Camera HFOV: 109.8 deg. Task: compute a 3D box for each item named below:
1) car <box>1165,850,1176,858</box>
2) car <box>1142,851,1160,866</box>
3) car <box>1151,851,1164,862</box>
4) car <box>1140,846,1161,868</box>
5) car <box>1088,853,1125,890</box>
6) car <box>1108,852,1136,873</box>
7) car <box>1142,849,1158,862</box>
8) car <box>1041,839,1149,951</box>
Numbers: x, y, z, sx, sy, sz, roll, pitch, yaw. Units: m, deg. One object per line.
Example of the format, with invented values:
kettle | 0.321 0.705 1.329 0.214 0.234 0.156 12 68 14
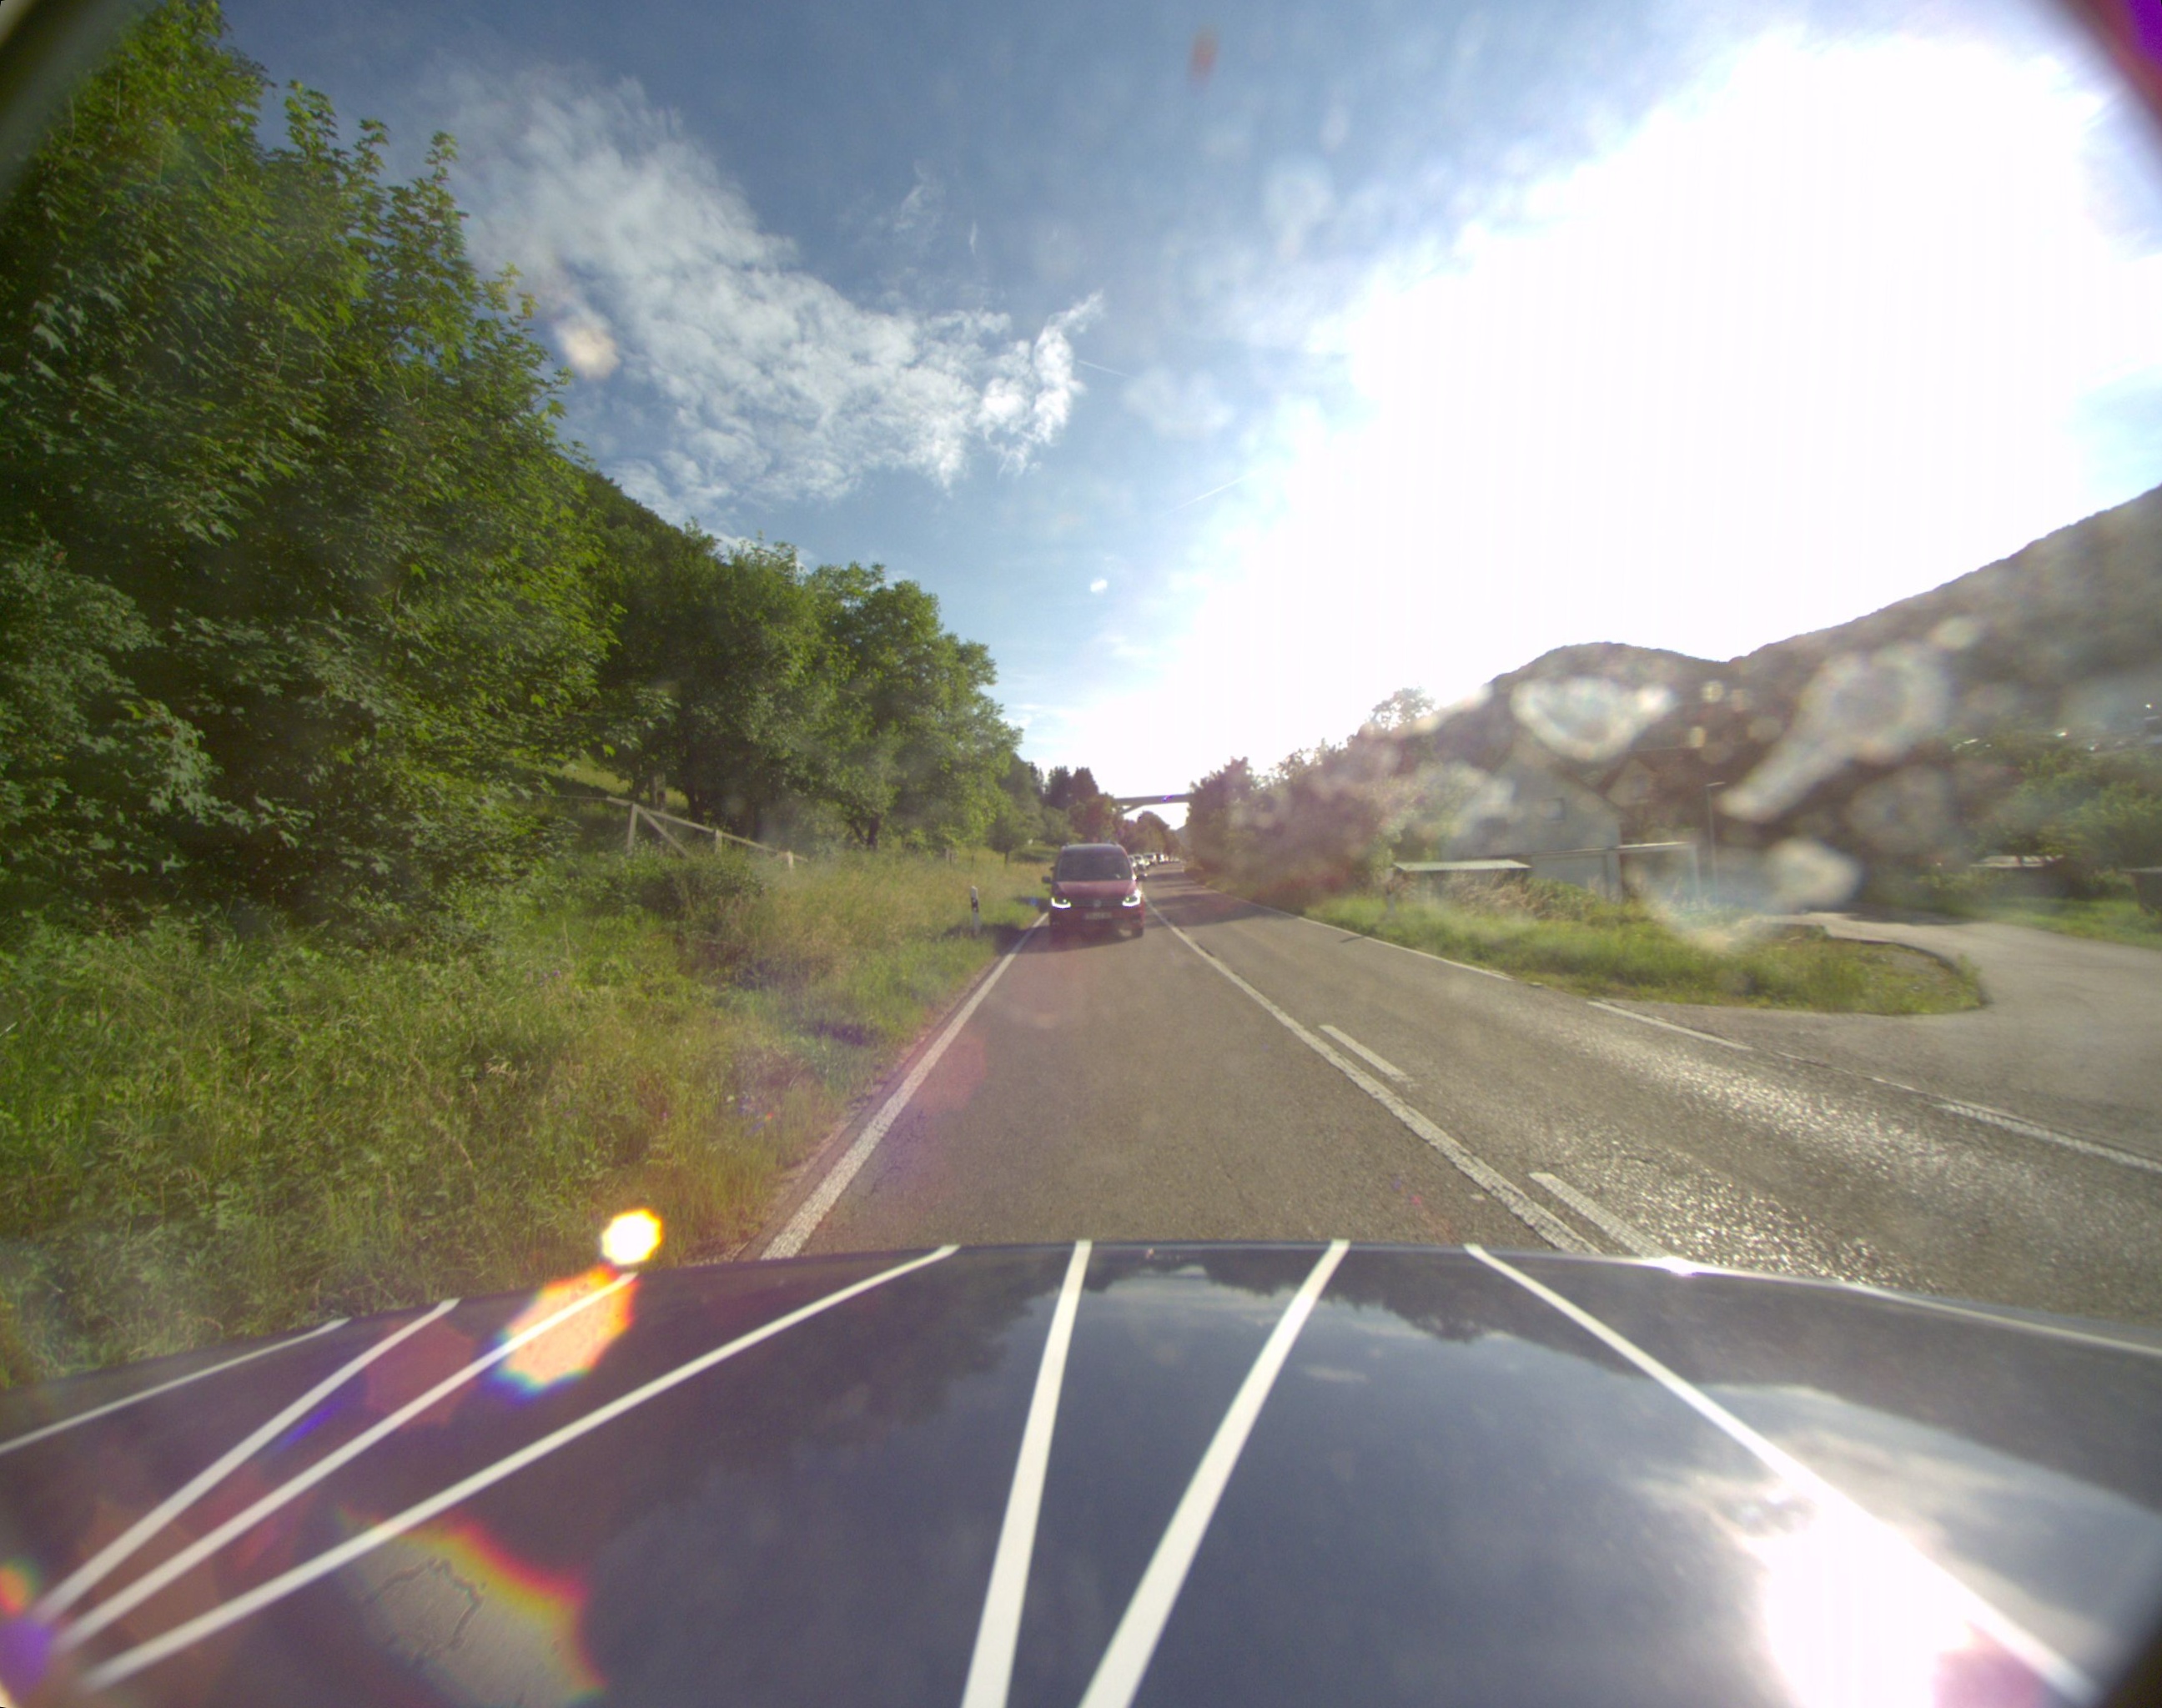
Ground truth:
car | 19.471 0.030 165.324 1.840 1.543 4.181 -1 0 13
car | 7.545 0.481 81.852 1.841 1.543 4.179 -1 0 6
car | 11.676 0.299 115.465 1.817 1.608 4.002 -1 0 8
car | 6.681 0.289 72.750 1.914 2.002 4.002 -1 0 6
car | 1.226 0.781 35.352 1.570 1.575 3.527 -1 0 4
car | 3.185 0.617 58.087 1.841 1.543 4.179 -1 0 7
car | 9.105 0.179 99.829 1.817 1.608 4.003 -1 0 9
car | 0.289 0.700 15.071 1.772 1.855 3.875 -3 0 1
